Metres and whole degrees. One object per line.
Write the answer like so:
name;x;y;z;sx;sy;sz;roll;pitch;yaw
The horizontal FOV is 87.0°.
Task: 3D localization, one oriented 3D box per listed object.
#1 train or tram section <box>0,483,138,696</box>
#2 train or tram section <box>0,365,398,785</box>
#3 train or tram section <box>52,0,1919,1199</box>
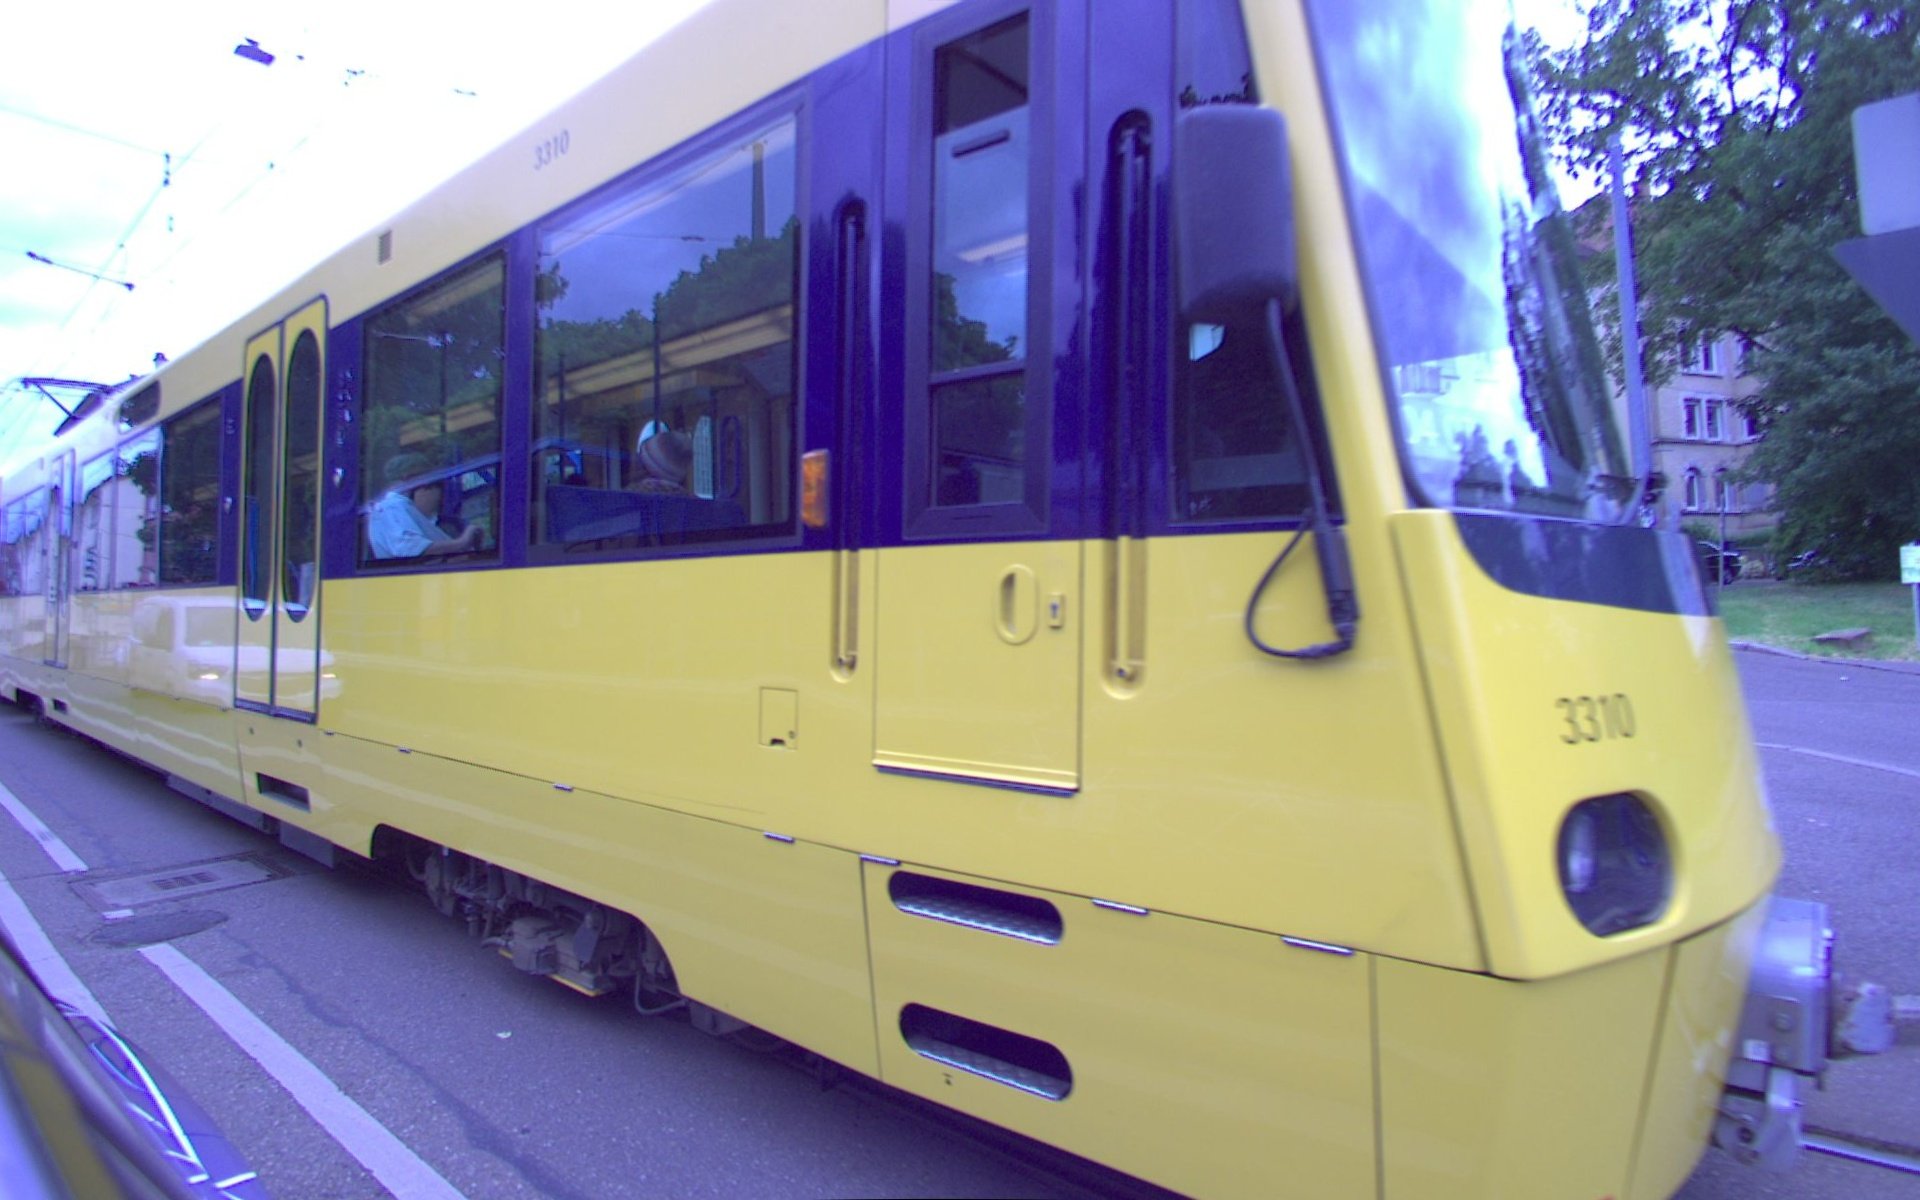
train or tram section;-20.789;-0.061;21.774;12.122;3.664;2.723;-1;-1;41
train or tram section;-11.589;-0.109;13.846;12.122;3.664;2.795;-1;-1;41
train or tram section;-2.446;-0.293;5.913;12.123;3.664;2.820;-1;-1;41
